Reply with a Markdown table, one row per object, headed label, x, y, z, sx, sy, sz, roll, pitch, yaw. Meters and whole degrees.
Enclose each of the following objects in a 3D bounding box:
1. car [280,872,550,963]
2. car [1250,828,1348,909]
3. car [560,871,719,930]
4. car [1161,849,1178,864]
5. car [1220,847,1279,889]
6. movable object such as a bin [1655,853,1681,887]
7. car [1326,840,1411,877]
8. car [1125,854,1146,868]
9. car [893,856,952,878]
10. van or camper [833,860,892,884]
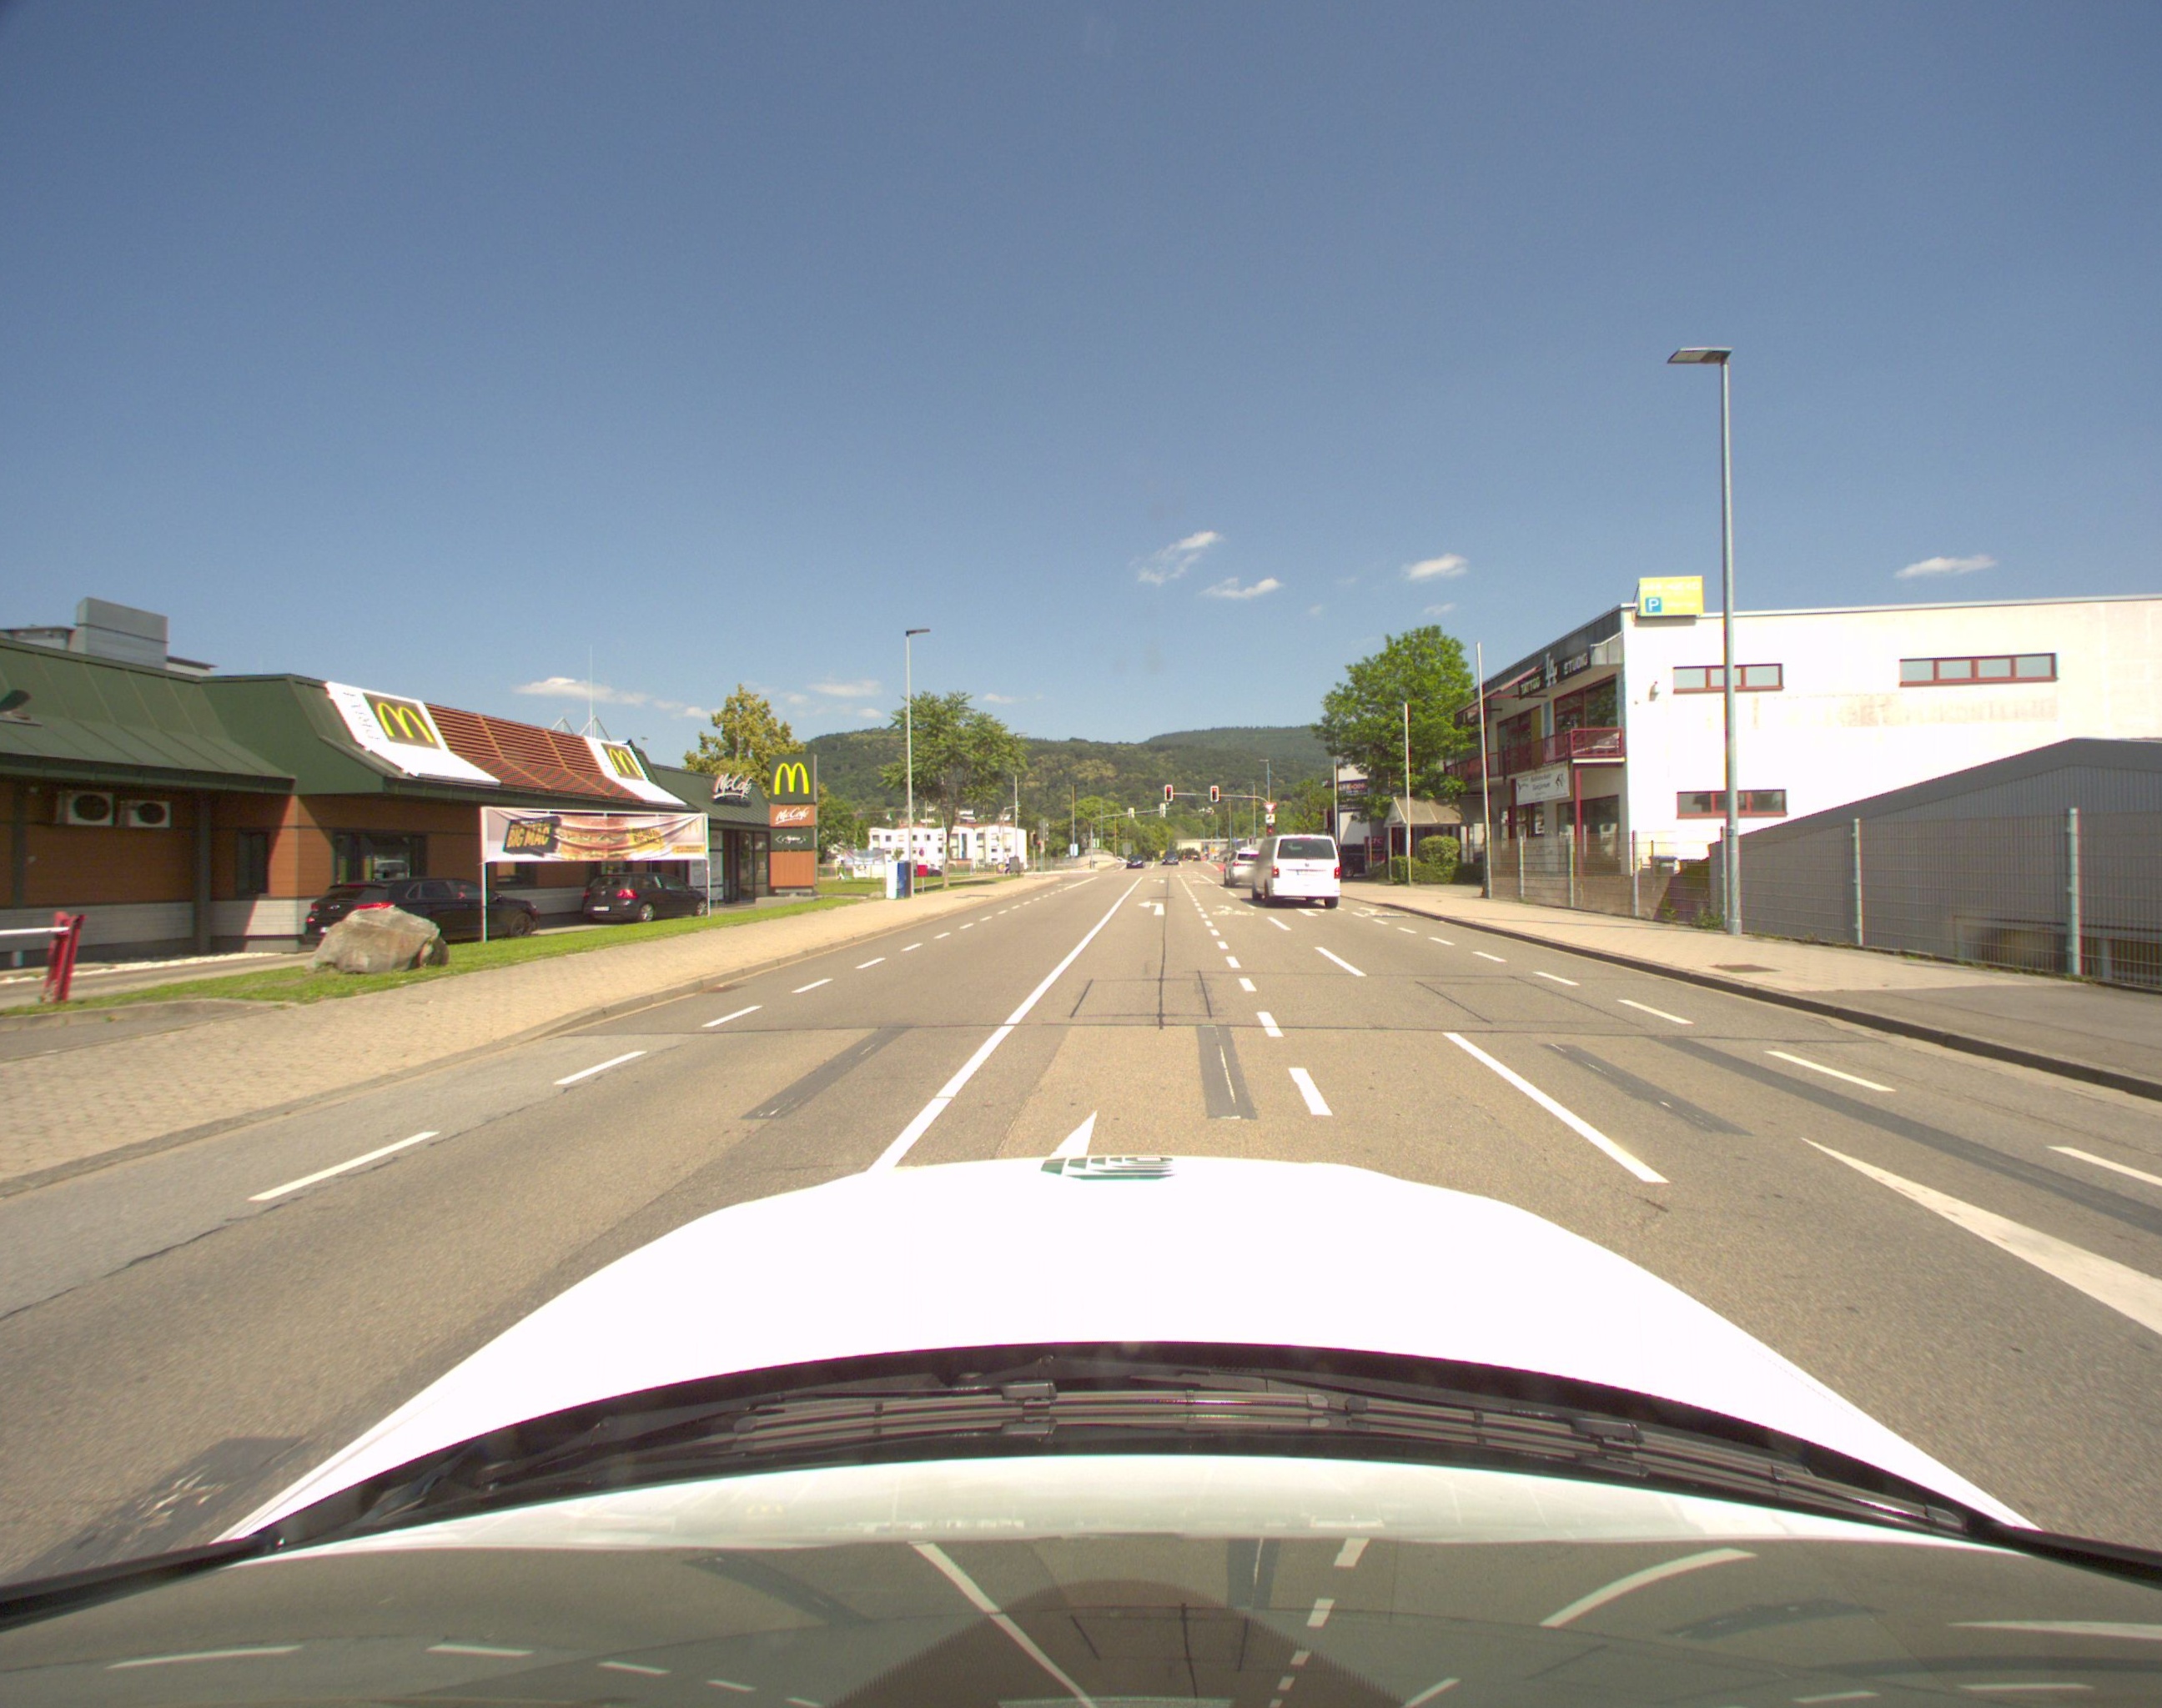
| label | x | y | z | sx | sy | sz | roll | pitch | yaw |
| --- | --- | --- | --- | --- | --- | --- | --- | --- | --- |
| car | -13.515 | 1.207 | 16.950 | 1.819 | 1.476 | 4.325 | 1 | 1 | 4 |
| car | 6.093 | 0.358 | 23.336 | 1.925 | 2.059 | 4.550 | 1 | 1 | 5 |
| car | -12.706 | 1.276 | 23.791 | 1.982 | 1.416 | 4.139 | 1 | 1 | 8 |
| car | 10.171 | 0.235 | 93.157 | 1.840 | 1.588 | 4.007 | -2 | 0 | 6 |
| car | 7.260 | 0.544 | 35.473 | 1.925 | 1.686 | 4.550 | 1 | 0 | 5 |
| movable object such as a bin | 17.961 | 0.498 | 24.934 | 0.410 | 1.012 | 0.546 | -2 | 0 | 8 |
| car | 15.120 | 0.227 | 43.068 | 3.960 | 1.775 | 2.007 | -1 | 0 | 12 |
| car | 5.770 | 0.740 | 85.532 | 1.983 | 1.370 | 4.334 | -2 | 0 | 6 |
| car | -12.538 | 0.987 | 64.550 | 4.308 | 1.592 | 1.997 | -2 | 0 | -5 |
| van or camper | -15.701 | 1.284 | 58.664 | 3.990 | 1.574 | 1.992 | 1 | 0 | -12 |
